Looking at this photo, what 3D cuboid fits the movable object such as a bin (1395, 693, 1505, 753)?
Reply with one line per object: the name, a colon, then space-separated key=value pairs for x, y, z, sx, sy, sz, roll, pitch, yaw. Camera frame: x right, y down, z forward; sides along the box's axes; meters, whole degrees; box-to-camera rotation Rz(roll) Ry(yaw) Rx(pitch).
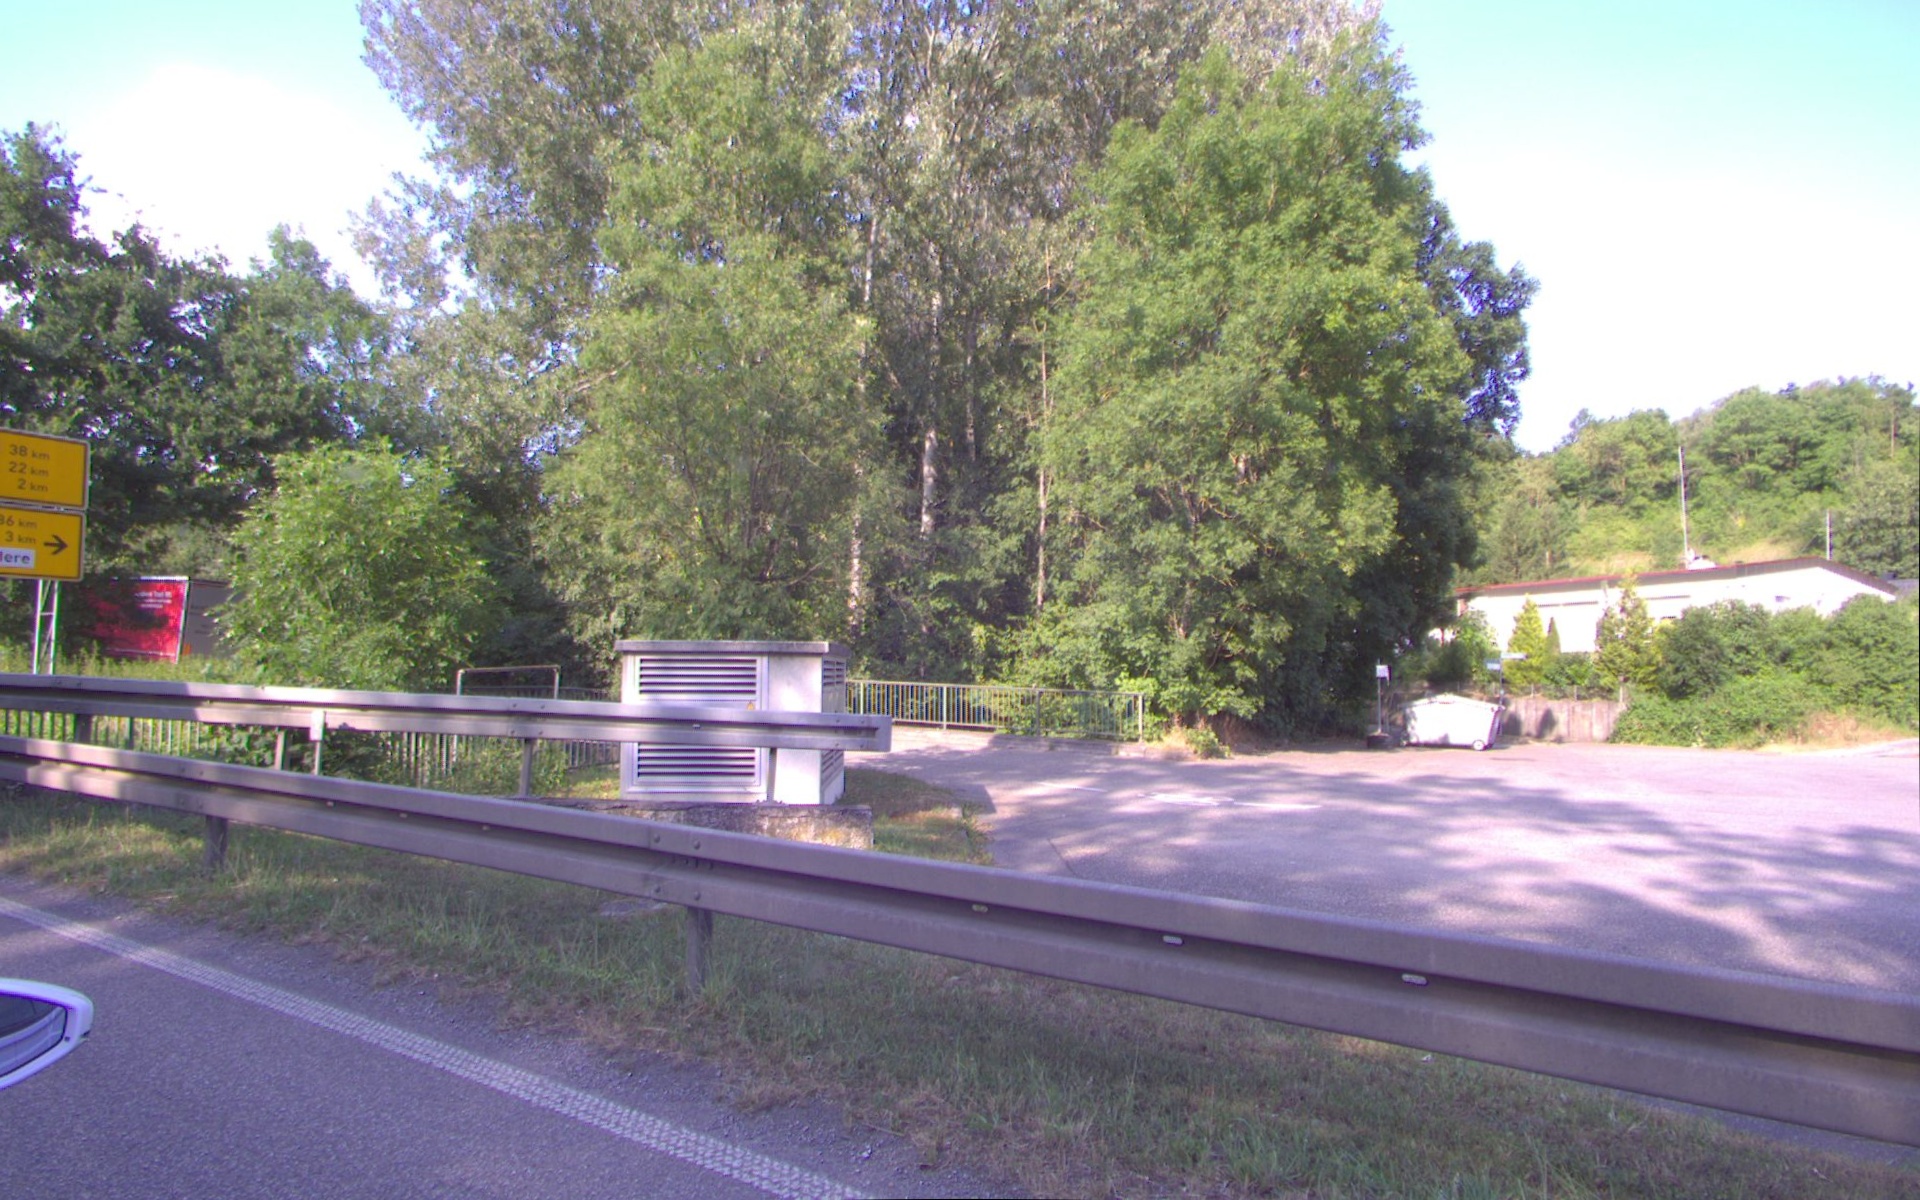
movable object such as a bin: x=13.059 y=3.250 z=26.703 sx=2.521 sy=1.436 sz=1.265 roll=-1 pitch=-6 yaw=32
